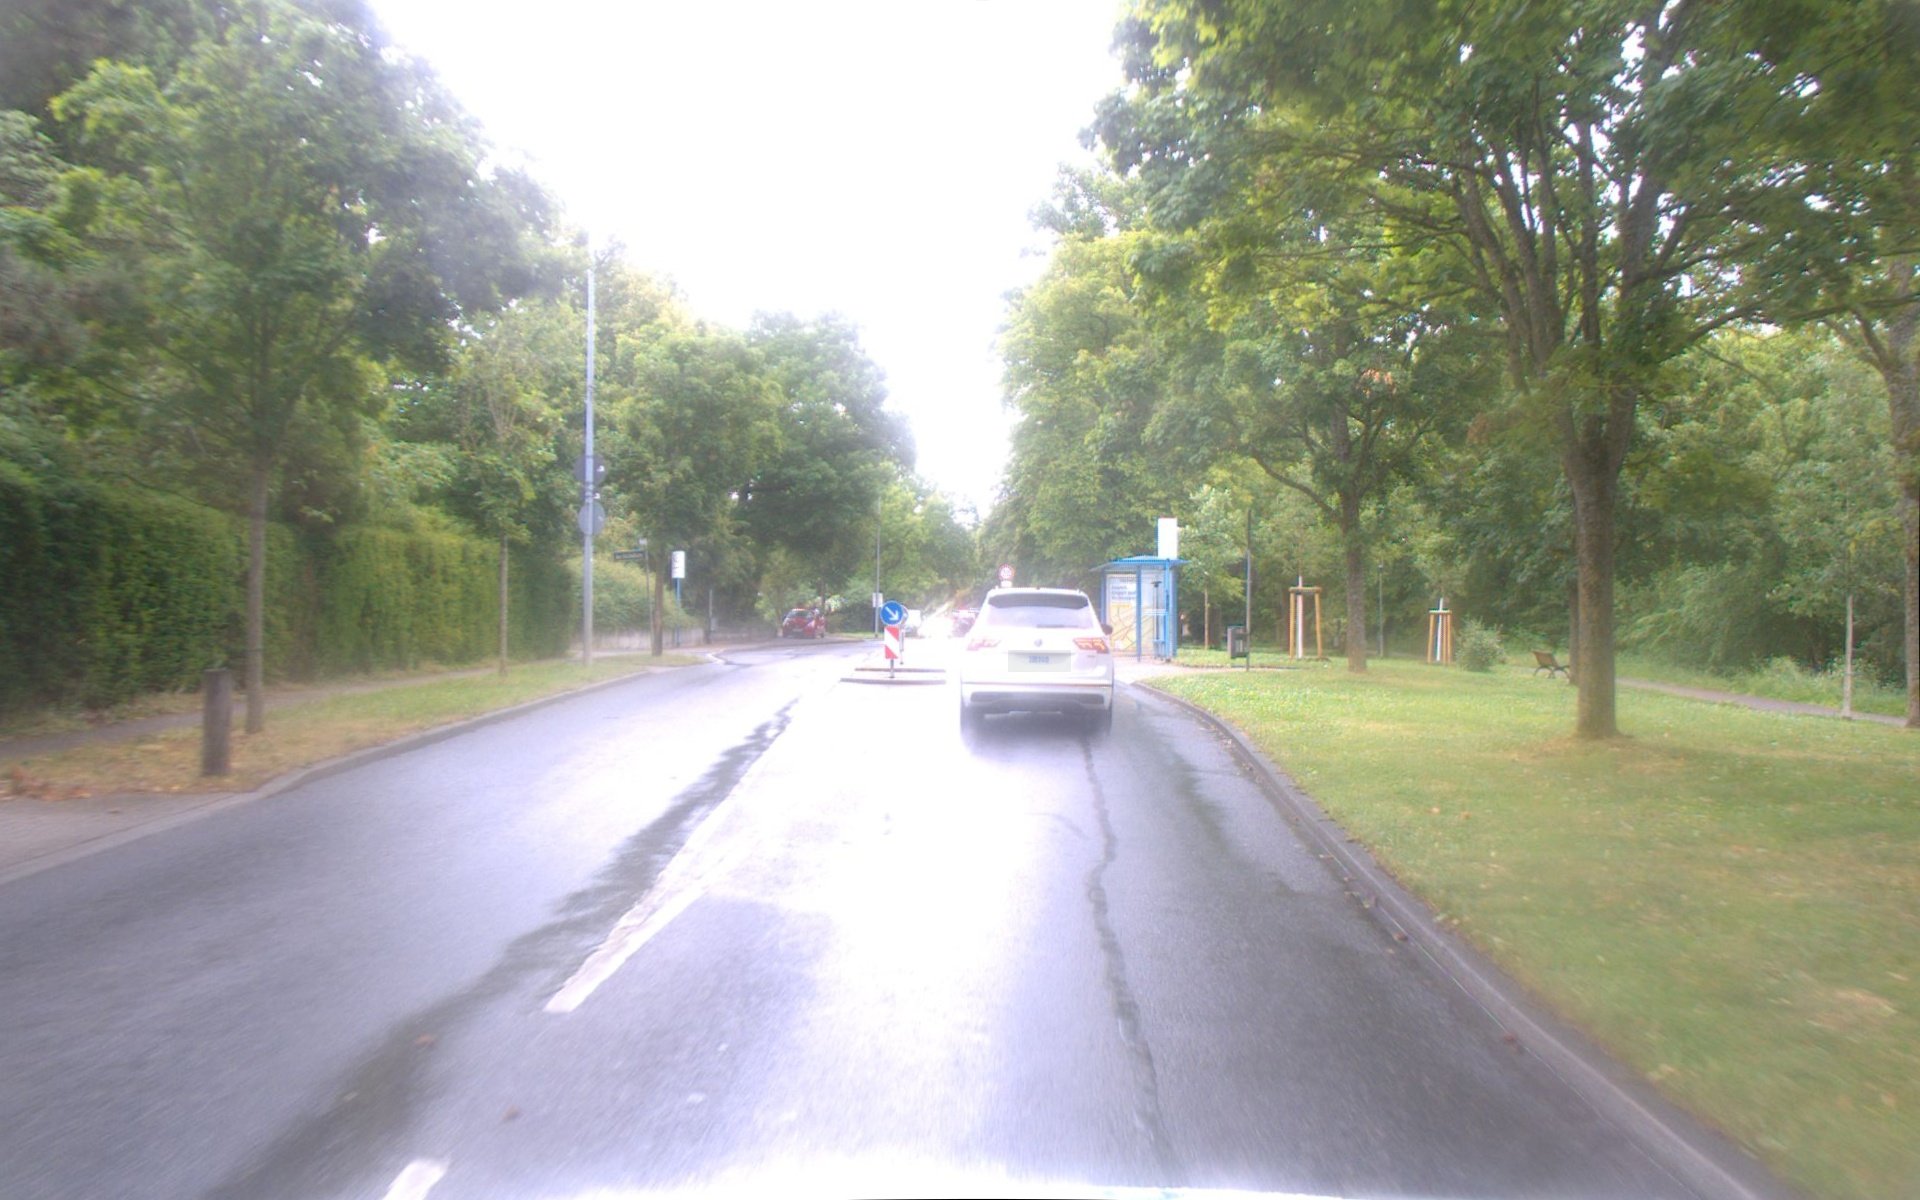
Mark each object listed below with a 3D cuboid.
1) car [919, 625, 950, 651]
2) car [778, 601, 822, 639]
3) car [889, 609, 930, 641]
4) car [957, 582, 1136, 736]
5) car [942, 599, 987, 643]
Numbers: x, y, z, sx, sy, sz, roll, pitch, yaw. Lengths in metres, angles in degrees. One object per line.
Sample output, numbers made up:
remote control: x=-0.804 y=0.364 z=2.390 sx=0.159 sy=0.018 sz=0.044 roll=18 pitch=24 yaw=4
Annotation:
car: x=-1.812 y=2.685 z=116.200 sx=1.954 sy=1.774 sz=3.997 roll=2 pitch=-2 yaw=-3
car: x=-8.053 y=1.024 z=83.574 sx=1.954 sy=1.793 sz=3.997 roll=2 pitch=-2 yaw=-3
car: x=-2.770 y=1.349 z=89.809 sx=2.075 sy=1.668 sz=3.997 roll=1 pitch=0 yaw=-4
car: x=0.958 y=0.660 z=20.409 sx=1.934 sy=1.682 sz=4.176 roll=1 pitch=0 yaw=0
car: x=0.191 y=1.078 z=82.788 sx=1.864 sy=2.049 sz=3.940 roll=2 pitch=-2 yaw=-4
